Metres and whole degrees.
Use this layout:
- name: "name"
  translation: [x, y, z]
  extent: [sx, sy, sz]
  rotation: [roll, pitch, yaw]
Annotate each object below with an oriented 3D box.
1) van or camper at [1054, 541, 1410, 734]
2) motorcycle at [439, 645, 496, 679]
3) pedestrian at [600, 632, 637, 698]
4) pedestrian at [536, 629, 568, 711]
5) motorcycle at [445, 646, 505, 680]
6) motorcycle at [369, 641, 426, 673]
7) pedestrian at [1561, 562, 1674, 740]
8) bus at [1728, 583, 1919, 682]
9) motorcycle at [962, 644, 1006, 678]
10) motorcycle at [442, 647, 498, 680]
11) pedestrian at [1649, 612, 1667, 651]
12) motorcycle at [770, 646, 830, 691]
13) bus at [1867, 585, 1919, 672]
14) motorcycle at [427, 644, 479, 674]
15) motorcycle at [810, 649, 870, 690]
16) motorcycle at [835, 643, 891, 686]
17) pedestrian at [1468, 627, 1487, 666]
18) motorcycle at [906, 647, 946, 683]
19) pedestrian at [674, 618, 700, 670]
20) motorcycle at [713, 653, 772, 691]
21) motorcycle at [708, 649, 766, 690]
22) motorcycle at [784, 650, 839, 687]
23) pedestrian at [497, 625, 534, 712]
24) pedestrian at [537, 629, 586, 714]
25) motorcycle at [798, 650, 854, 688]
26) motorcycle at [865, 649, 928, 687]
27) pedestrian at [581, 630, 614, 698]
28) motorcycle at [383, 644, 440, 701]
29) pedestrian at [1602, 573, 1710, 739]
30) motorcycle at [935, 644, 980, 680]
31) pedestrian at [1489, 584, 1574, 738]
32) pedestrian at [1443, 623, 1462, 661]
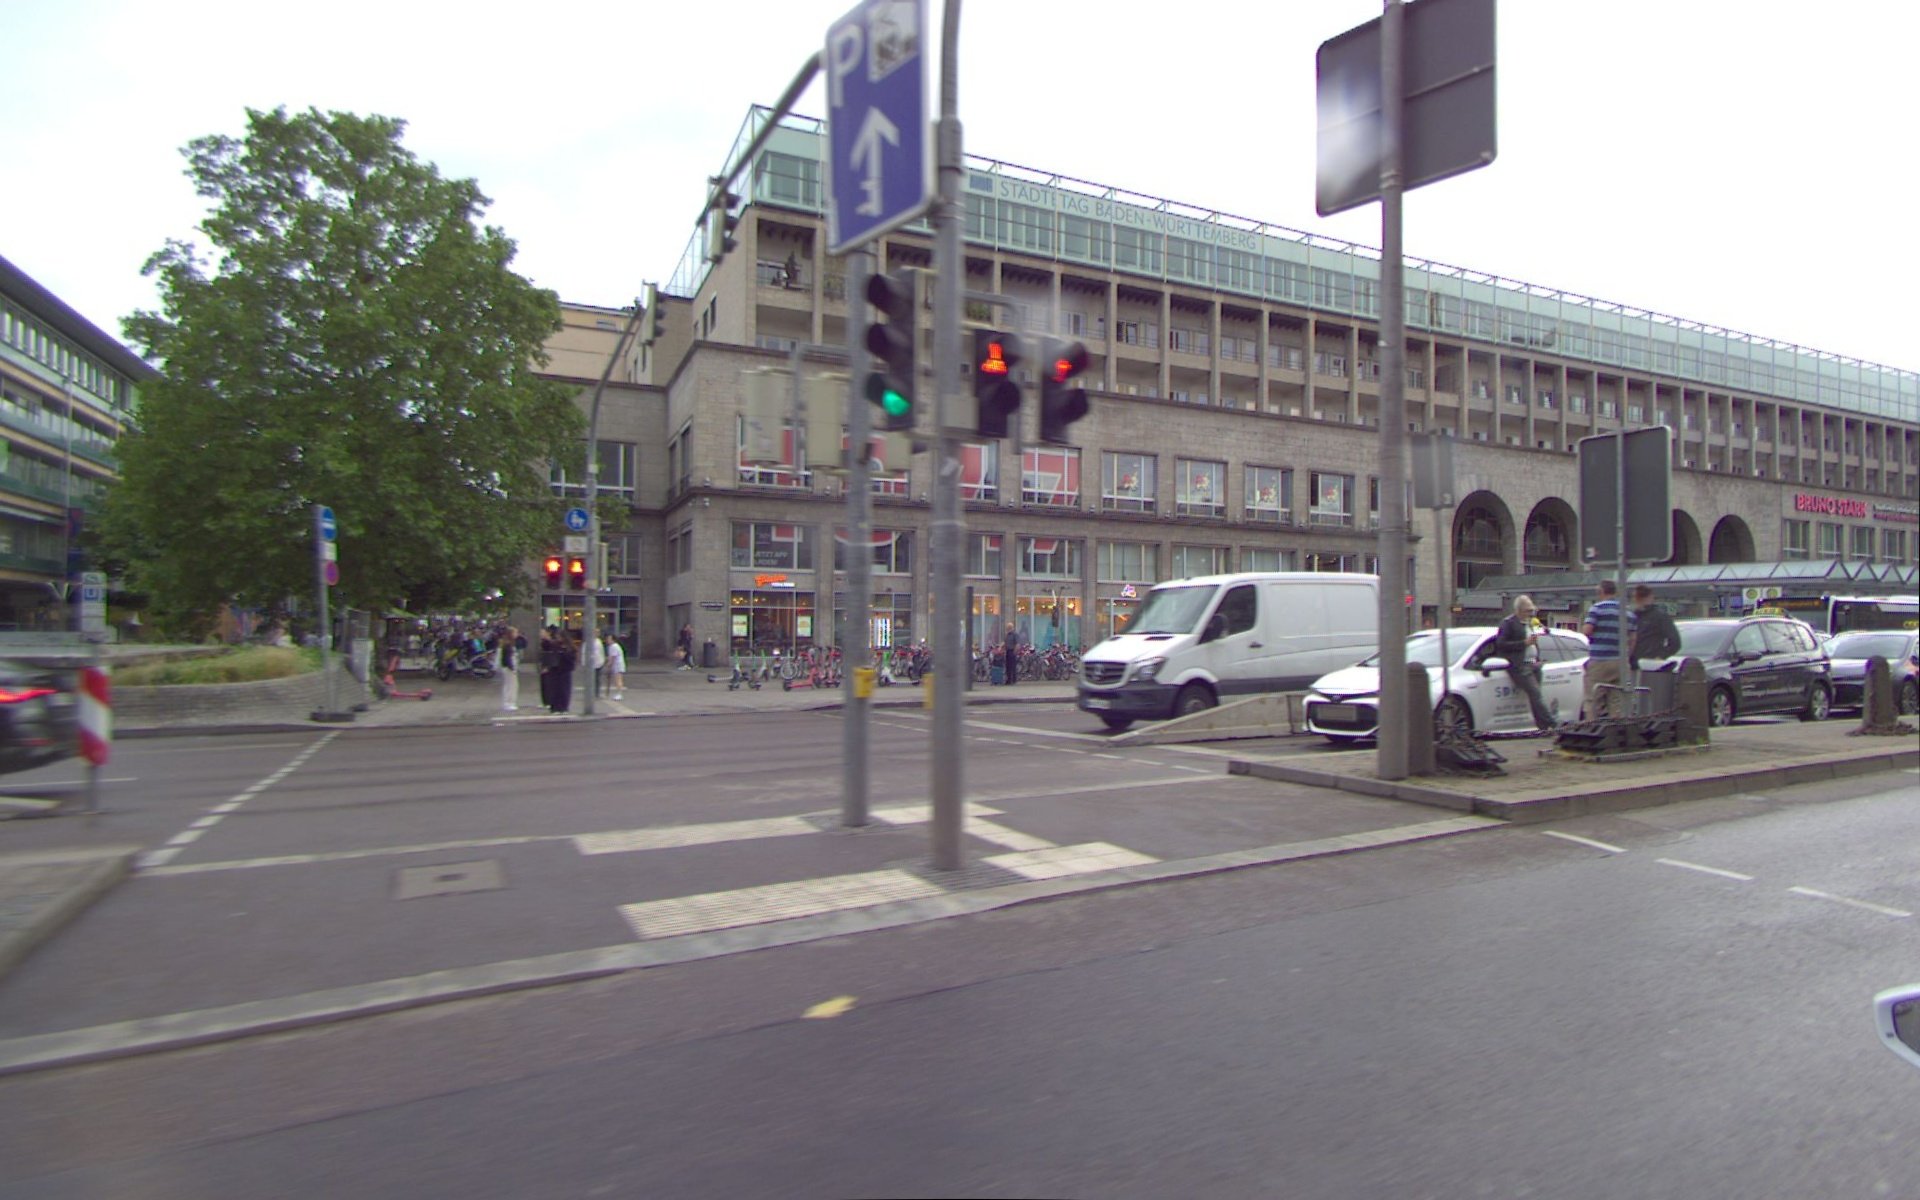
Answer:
- name: "van or camper"
  translation: [4.224, 0.574, 15.400]
  extent: [5.303, 2.546, 1.986]
  rotation: [0, -4, -28]
- name: "motorcycle"
  translation: [-16.532, 2.069, 33.712]
  extent: [1.696, 1.060, 0.528]
  rotation: [1, -1, -30]
- name: "pedestrian"
  translation: [-8.421, 1.601, 24.768]
  extent: [0.747, 1.592, 0.469]
  rotation: [2, -5, -45]
- name: "pedestrian"
  translation: [-8.672, 1.484, 21.337]
  extent: [0.553, 1.707, 0.747]
  rotation: [0, -4, -29]
- name: "motorcycle"
  translation: [-15.608, 2.018, 32.328]
  extent: [1.696, 1.060, 0.528]
  rotation: [1, -1, -30]
- name: "motorcycle"
  translation: [-19.476, 1.976, 34.802]
  extent: [1.696, 1.060, 0.528]
  rotation: [1, -1, -30]
- name: "pedestrian"
  translation: [6.903, 0.537, 10.577]
  extent: [0.737, 1.798, 0.560]
  rotation: [-2, -3, 8]
- name: "bus"
  translation: [33.782, 1.190, 38.240]
  extent: [10.434, 3.421, 2.868]
  rotation: [0, -1, -26]
- name: "motorcycle"
  translation: [0.807, 2.050, 34.029]
  extent: [0.578, 1.072, 1.694]
  rotation: [0, 0, -38]
- name: "motorcycle"
  translation: [-16.715, 2.166, 34.299]
  extent: [1.696, 1.060, 0.528]
  rotation: [1, -1, -30]
- name: "pedestrian"
  translation: [27.694, 1.241, 39.838]
  extent: [0.575, 1.527, 0.624]
  rotation: [0, 1, 34]
- name: "motorcycle"
  translation: [-4.492, 1.909, 28.242]
  extent: [1.599, 1.188, 0.580]
  rotation: [0, 0, -21]
- name: "bus"
  translation: [43.126, 1.197, 42.887]
  extent: [10.434, 3.505, 2.868]
  rotation: [0, -1, -26]
- name: "motorcycle"
  translation: [-18.663, 2.154, 36.972]
  extent: [1.696, 1.060, 0.528]
  rotation: [1, -1, -30]
- name: "motorcycle"
  translation: [-3.348, 1.923, 28.014]
  extent: [1.599, 1.060, 0.475]
  rotation: [0, 0, -21]
- name: "motorcycle"
  translation: [-3.057, 2.004, 31.586]
  extent: [0.691, 1.244, 1.930]
  rotation: [0, 0, -45]
- name: "pedestrian"
  translation: [27.614, 2.463, 53.555]
  extent: [0.700, 2.040, 0.573]
  rotation: [1, -2, -27]
- name: "motorcycle"
  translation: [-1.117, 2.089, 32.624]
  extent: [0.597, 1.072, 1.428]
  rotation: [0, 0, -36]
- name: "pedestrian"
  translation: [-10.961, 1.750, 40.298]
  extent: [0.812, 2.040, 0.870]
  rotation: [1, -1, -32]
- name: "motorcycle"
  translation: [-6.376, 2.107, 29.424]
  extent: [1.591, 1.057, 0.583]
  rotation: [0, 0, 7]
- name: "motorcycle"
  translation: [-6.691, 2.081, 30.162]
  extent: [1.591, 1.149, 0.583]
  rotation: [0, 0, 7]
- name: "motorcycle"
  translation: [-4.565, 2.104, 30.872]
  extent: [1.598, 1.072, 0.581]
  rotation: [0, 0, -19]
- name: "pedestrian"
  translation: [-9.241, 1.409, 20.859]
  extent: [0.651, 1.709, 0.595]
  rotation: [0, 4, -29]
- name: "pedestrian"
  translation: [-7.657, 1.373, 19.308]
  extent: [0.746, 1.592, 0.553]
  rotation: [1, -4, -40]
- name: "motorcycle"
  translation: [-4.008, 2.063, 30.083]
  extent: [1.598, 1.072, 0.581]
  rotation: [0, 0, -19]
- name: "motorcycle"
  translation: [-1.885, 2.014, 29.839]
  extent: [1.778, 1.072, 0.603]
  rotation: [0, 0, 11]
- name: "pedestrian"
  translation: [-8.969, 1.583, 24.837]
  extent: [0.522, 1.663, 0.607]
  rotation: [-5, -5, 44]
- name: "motorcycle"
  translation: [-12.927, 1.692, 23.683]
  extent: [1.147, 1.295, 0.414]
  rotation: [0, -1, -30]
- name: "pedestrian"
  translation: [7.906, 0.640, 11.421]
  extent: [0.601, 1.798, 0.776]
  rotation: [1, -4, -38]
- name: "motorcycle"
  translation: [-0.104, 2.049, 33.367]
  extent: [0.578, 1.072, 1.694]
  rotation: [0, 0, -38]
- name: "pedestrian"
  translation: [6.679, 0.688, 11.752]
  extent: [0.585, 1.734, 0.648]
  rotation: [0, 1, -28]
- name: "pedestrian"
  translation: [26.162, 2.229, 53.317]
  extent: [0.700, 2.040, 0.573]
  rotation: [1, -2, -27]
